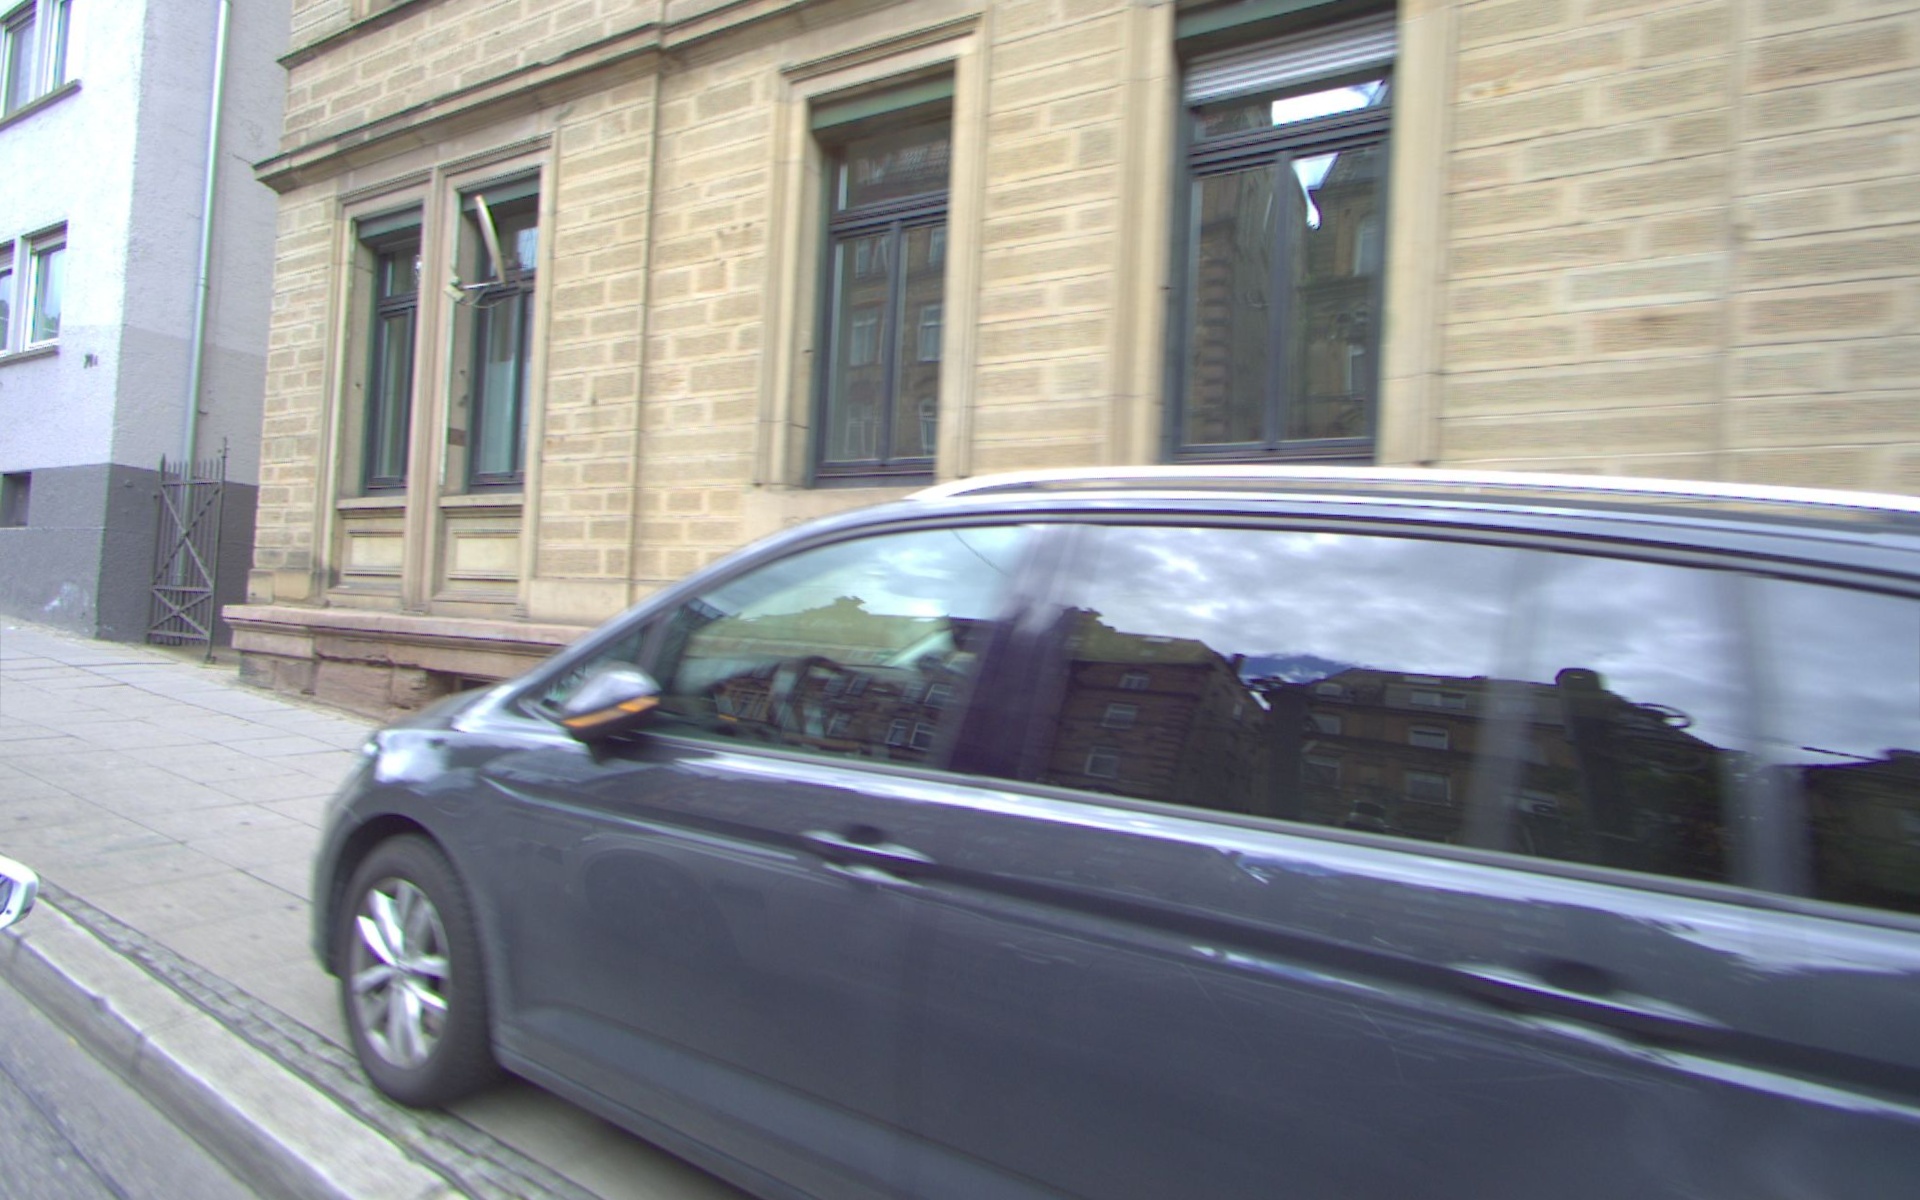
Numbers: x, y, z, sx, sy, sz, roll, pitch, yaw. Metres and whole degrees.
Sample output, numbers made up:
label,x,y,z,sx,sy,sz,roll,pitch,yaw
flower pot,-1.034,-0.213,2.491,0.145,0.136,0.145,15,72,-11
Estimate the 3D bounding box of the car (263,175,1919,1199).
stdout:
label,x,y,z,sx,sy,sz,roll,pitch,yaw
car,0.391,0.337,2.510,4.236,1.733,1.859,7,1,31
